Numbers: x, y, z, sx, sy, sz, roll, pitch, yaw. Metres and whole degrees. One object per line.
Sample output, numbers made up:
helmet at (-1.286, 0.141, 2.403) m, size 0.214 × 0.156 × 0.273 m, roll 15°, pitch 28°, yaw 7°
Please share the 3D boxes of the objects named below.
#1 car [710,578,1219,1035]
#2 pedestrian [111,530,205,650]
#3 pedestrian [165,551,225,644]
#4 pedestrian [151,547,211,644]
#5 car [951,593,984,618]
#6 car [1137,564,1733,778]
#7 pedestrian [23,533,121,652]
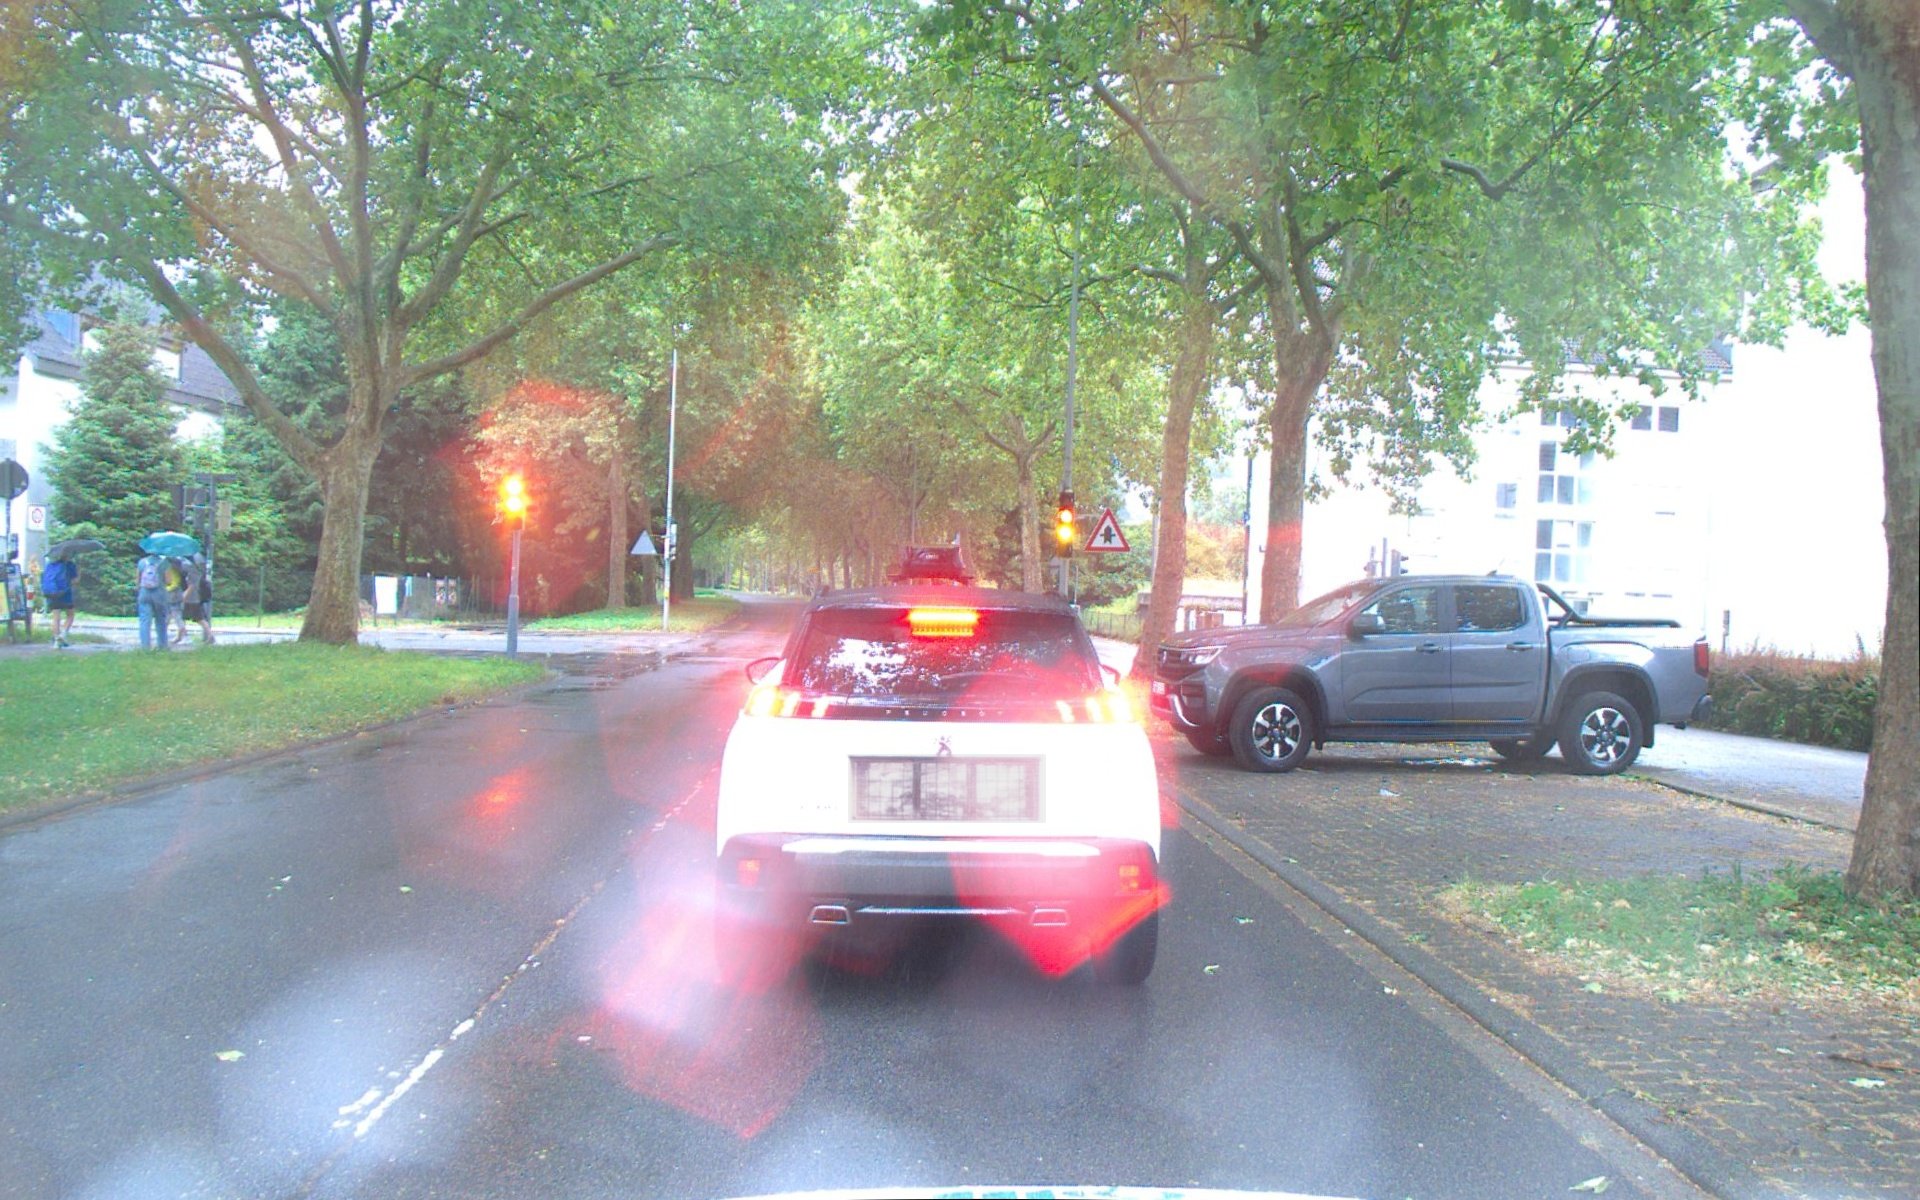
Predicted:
car at (-0.023, 0.710, 7.806) m, size 1.744 × 1.563 × 4.056 m, roll 1°, pitch 0°, yaw -1°
pedestrian at (-12.423, -0.155, 25.642) m, size 1.012 × 1.796 × 0.838 m, roll 1°, pitch 0°, yaw -1°
pedestrian at (-15.031, -0.048, 32.524) m, size 0.842 × 1.775 × 0.639 m, roll 2°, pitch 0°, yaw -4°
pedestrian at (-14.758, -0.085, 31.349) m, size 0.804 × 1.775 × 0.639 m, roll 2°, pitch 0°, yaw -4°
car at (0.490, 0.354, 111.743) m, size 1.868 × 1.536 × 3.927 m, roll 2°, pitch 0°, yaw -5°
car at (4.499, 0.668, 16.009) m, size 5.238 × 1.838 × 1.842 m, roll 2°, pitch 0°, yaw -8°
pedestrian at (-13.779, -0.117, 25.685) m, size 1.012 × 1.796 × 0.879 m, roll 1°, pitch 0°, yaw -1°
